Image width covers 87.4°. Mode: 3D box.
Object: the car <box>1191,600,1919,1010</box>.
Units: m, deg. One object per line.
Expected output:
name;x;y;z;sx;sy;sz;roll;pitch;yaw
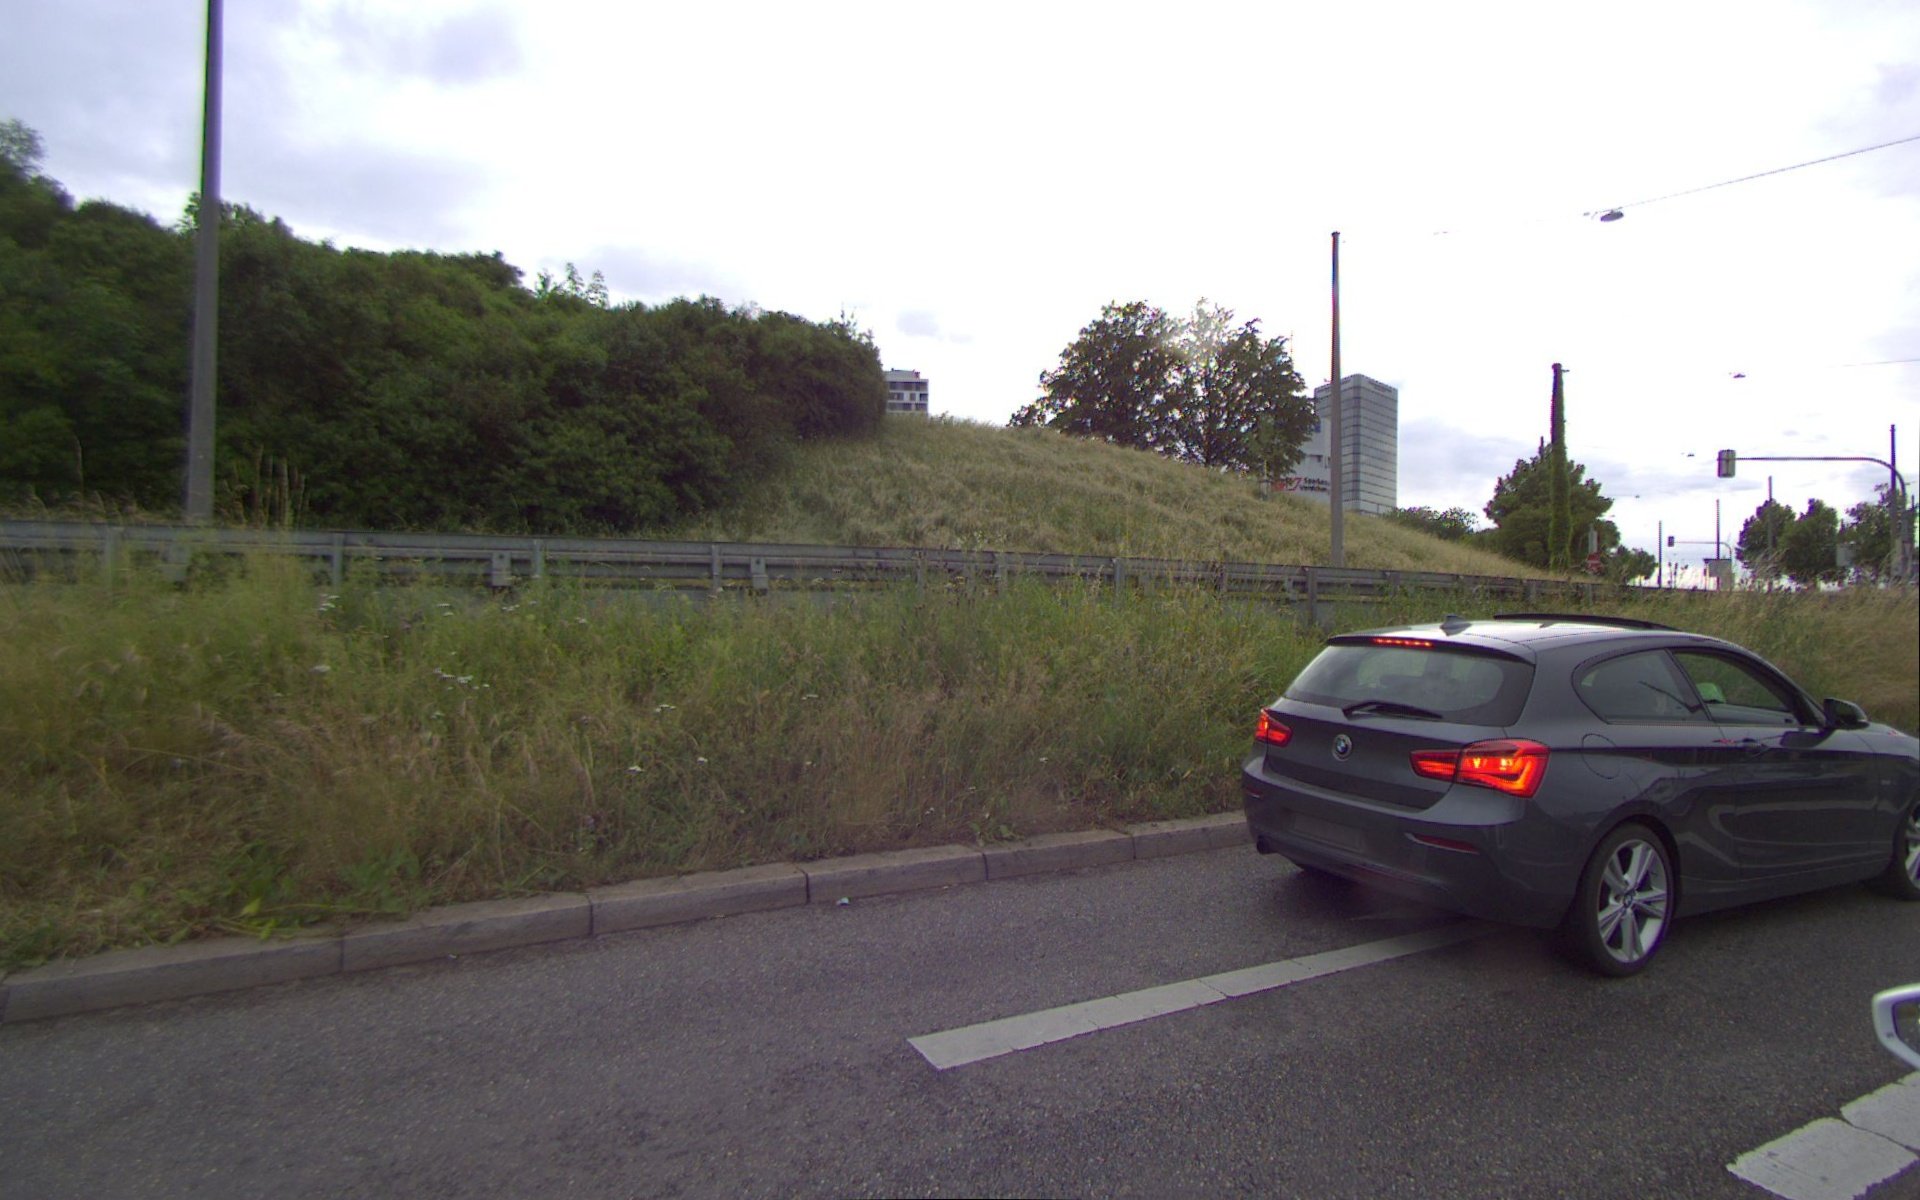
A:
car;3.383;0.806;5.316;4.061;1.479;1.696;2;-1;-27

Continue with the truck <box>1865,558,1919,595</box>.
truck;83.502;-2.059;88.820;3.206;3.116;6.171;3;3;24

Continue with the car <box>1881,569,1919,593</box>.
car;75.974;-1.508;80.493;1.962;1.681;4.350;2;-1;25
